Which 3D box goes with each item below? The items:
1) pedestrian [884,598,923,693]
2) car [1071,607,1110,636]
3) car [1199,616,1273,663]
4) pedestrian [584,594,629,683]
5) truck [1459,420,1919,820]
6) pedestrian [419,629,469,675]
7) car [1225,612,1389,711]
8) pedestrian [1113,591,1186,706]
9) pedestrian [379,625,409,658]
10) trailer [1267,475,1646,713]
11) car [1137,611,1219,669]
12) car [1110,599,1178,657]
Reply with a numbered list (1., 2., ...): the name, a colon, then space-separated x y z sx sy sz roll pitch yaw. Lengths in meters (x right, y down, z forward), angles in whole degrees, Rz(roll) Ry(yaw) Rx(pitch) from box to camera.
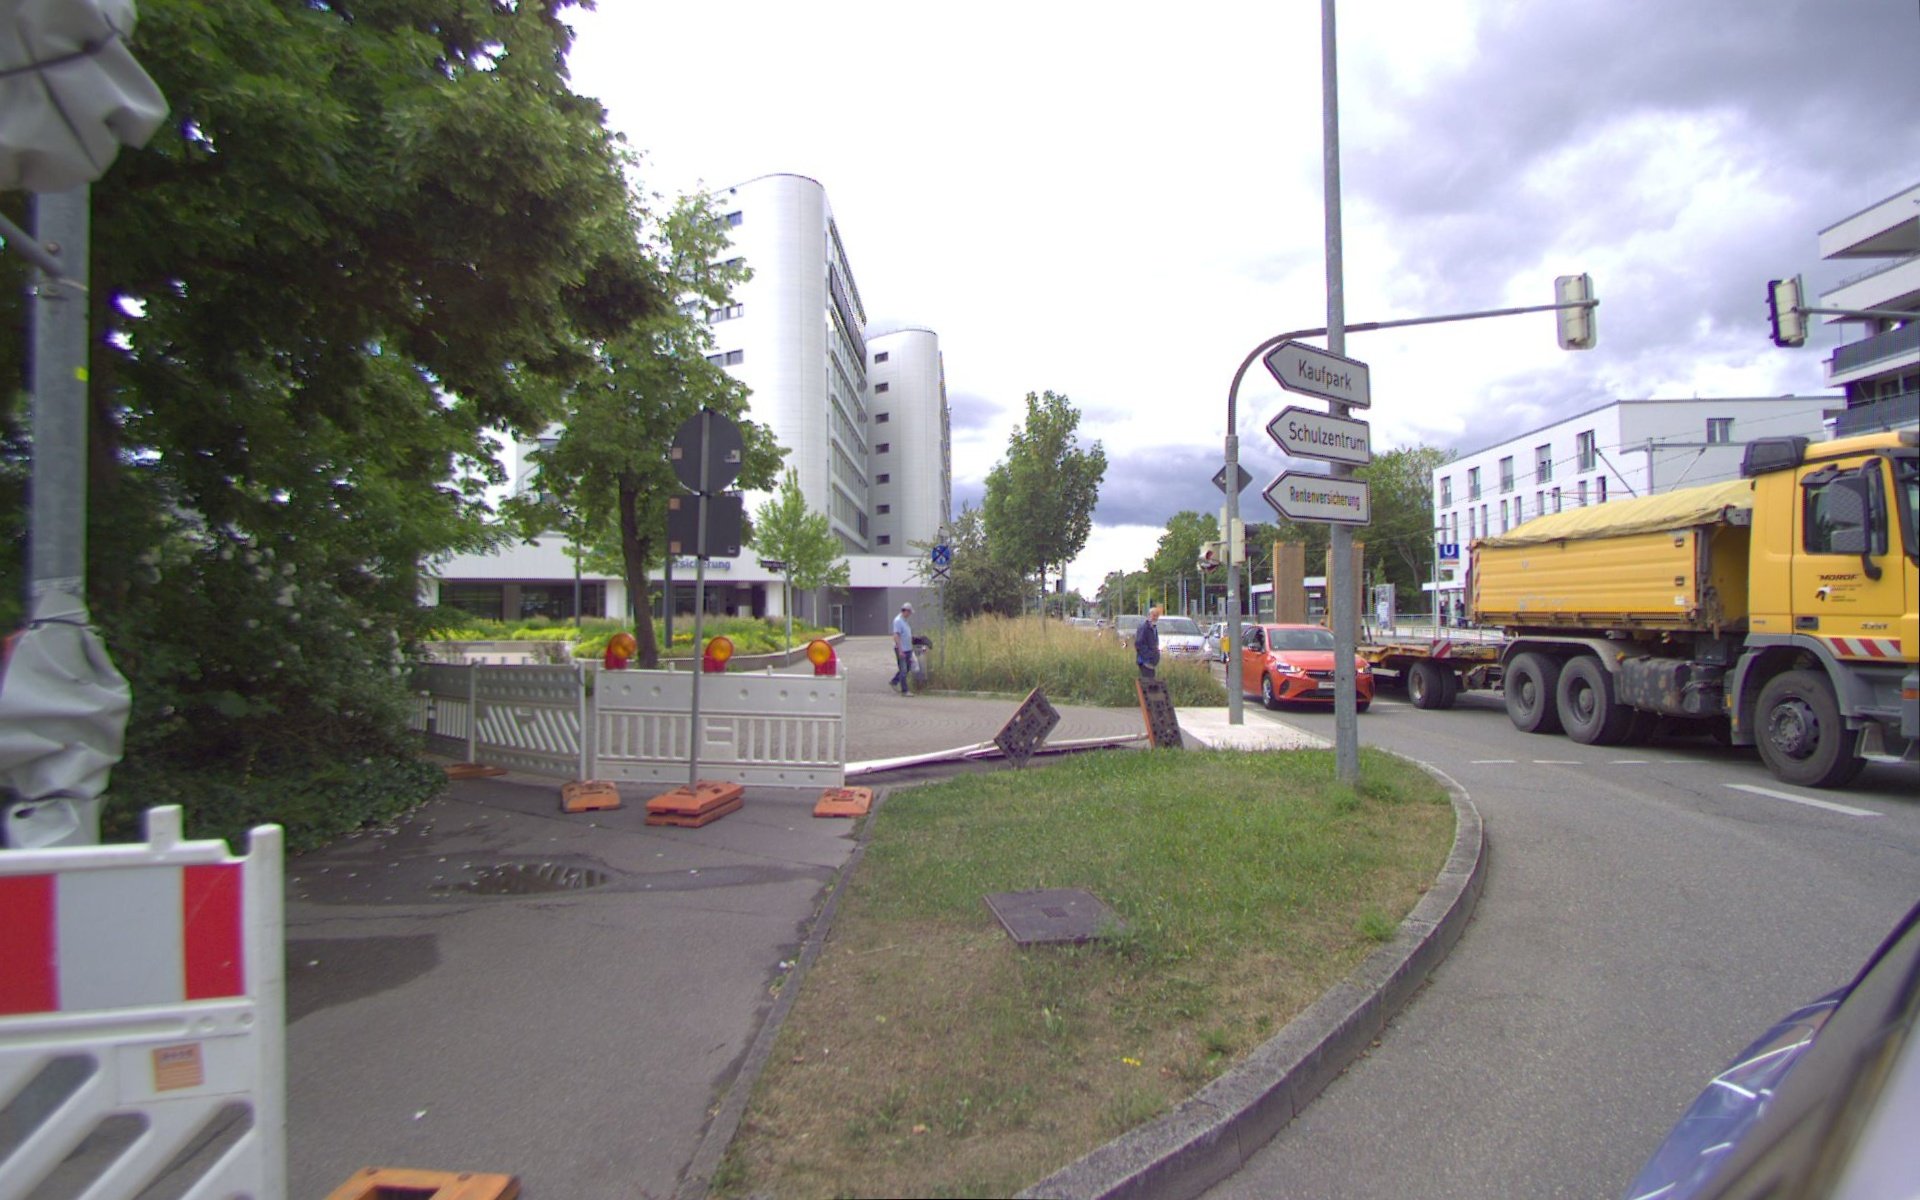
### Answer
1. pedestrian: -1.086 0.870 19.572 0.681 1.814 0.728 0 -2 3
2. car: 7.634 1.245 59.526 1.817 1.594 4.620 0 -1 2
3. car: 9.745 1.375 36.030 1.663 1.498 3.997 -1 0 3
4. pedestrian: -6.945 0.742 19.916 0.639 1.716 0.696 0 -1 0
5. truck: 8.772 0.144 11.377 2.679 3.041 7.773 -1 0 2
6. pedestrian: -10.330 1.034 20.291 0.639 0.875 0.696 0 -1 0
7. car: 6.001 0.994 17.963 1.663 1.498 3.997 -1 0 3
8. pedestrian: 3.021 0.758 16.114 0.948 1.763 0.720 -1 -2 32
9. pedestrian: -22.322 1.621 39.911 0.870 1.290 0.703 1 -2 -41
10. trailer: 9.102 -0.022 20.684 2.665 3.567 10.906 -1 -1 2
11. car: 6.243 1.116 29.339 1.707 1.594 3.443 0 -1 2
12. car: 6.779 1.006 37.673 1.963 2.039 3.996 0 -1 3
